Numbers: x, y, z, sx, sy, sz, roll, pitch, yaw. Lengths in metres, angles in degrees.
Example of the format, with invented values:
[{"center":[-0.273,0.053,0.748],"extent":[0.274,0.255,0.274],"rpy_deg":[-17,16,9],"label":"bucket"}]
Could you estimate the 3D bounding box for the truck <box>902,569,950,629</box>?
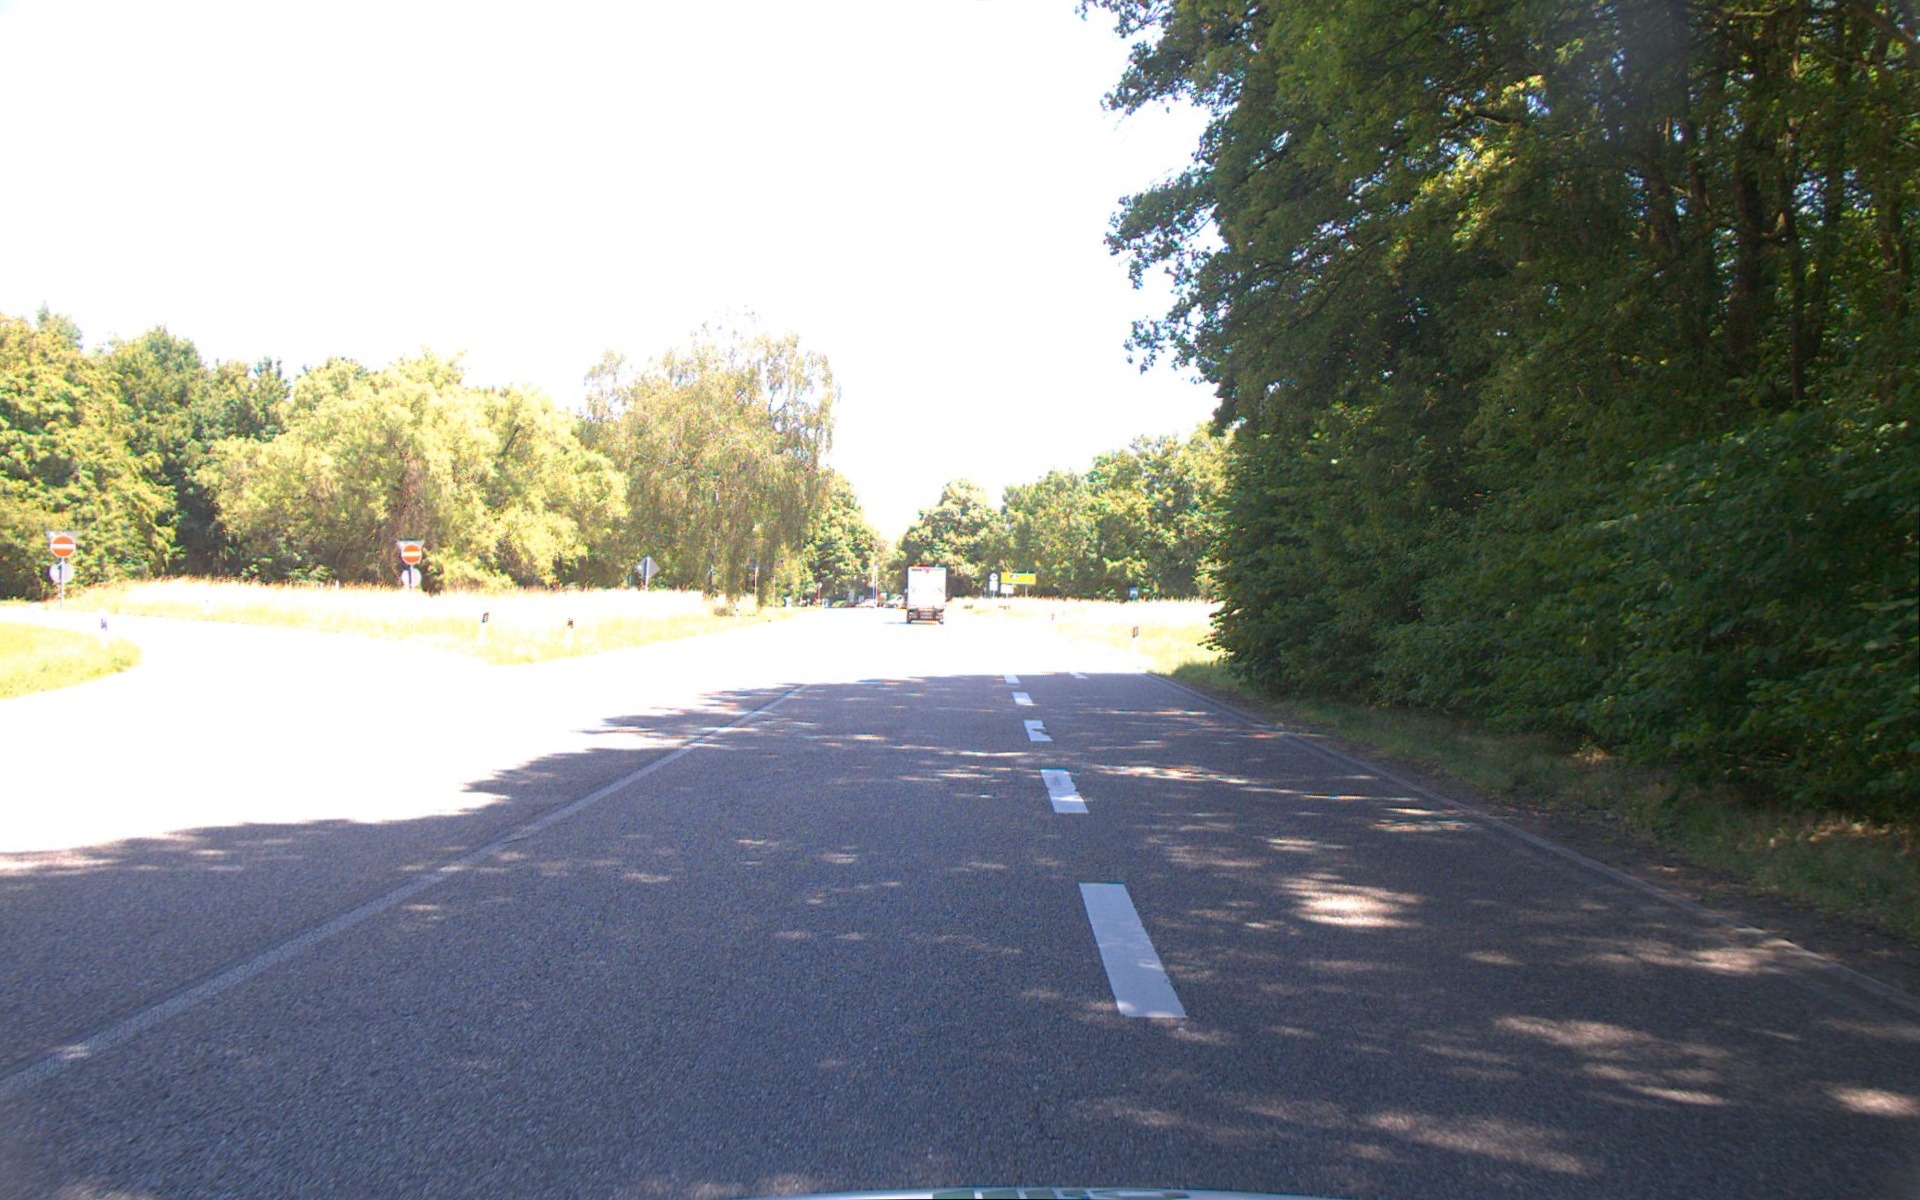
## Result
[{"center":[-1.821,-0.080,89.836],"extent":[2.482,3.190,5.361],"rpy_deg":[0,0,0],"label":"truck"}]
